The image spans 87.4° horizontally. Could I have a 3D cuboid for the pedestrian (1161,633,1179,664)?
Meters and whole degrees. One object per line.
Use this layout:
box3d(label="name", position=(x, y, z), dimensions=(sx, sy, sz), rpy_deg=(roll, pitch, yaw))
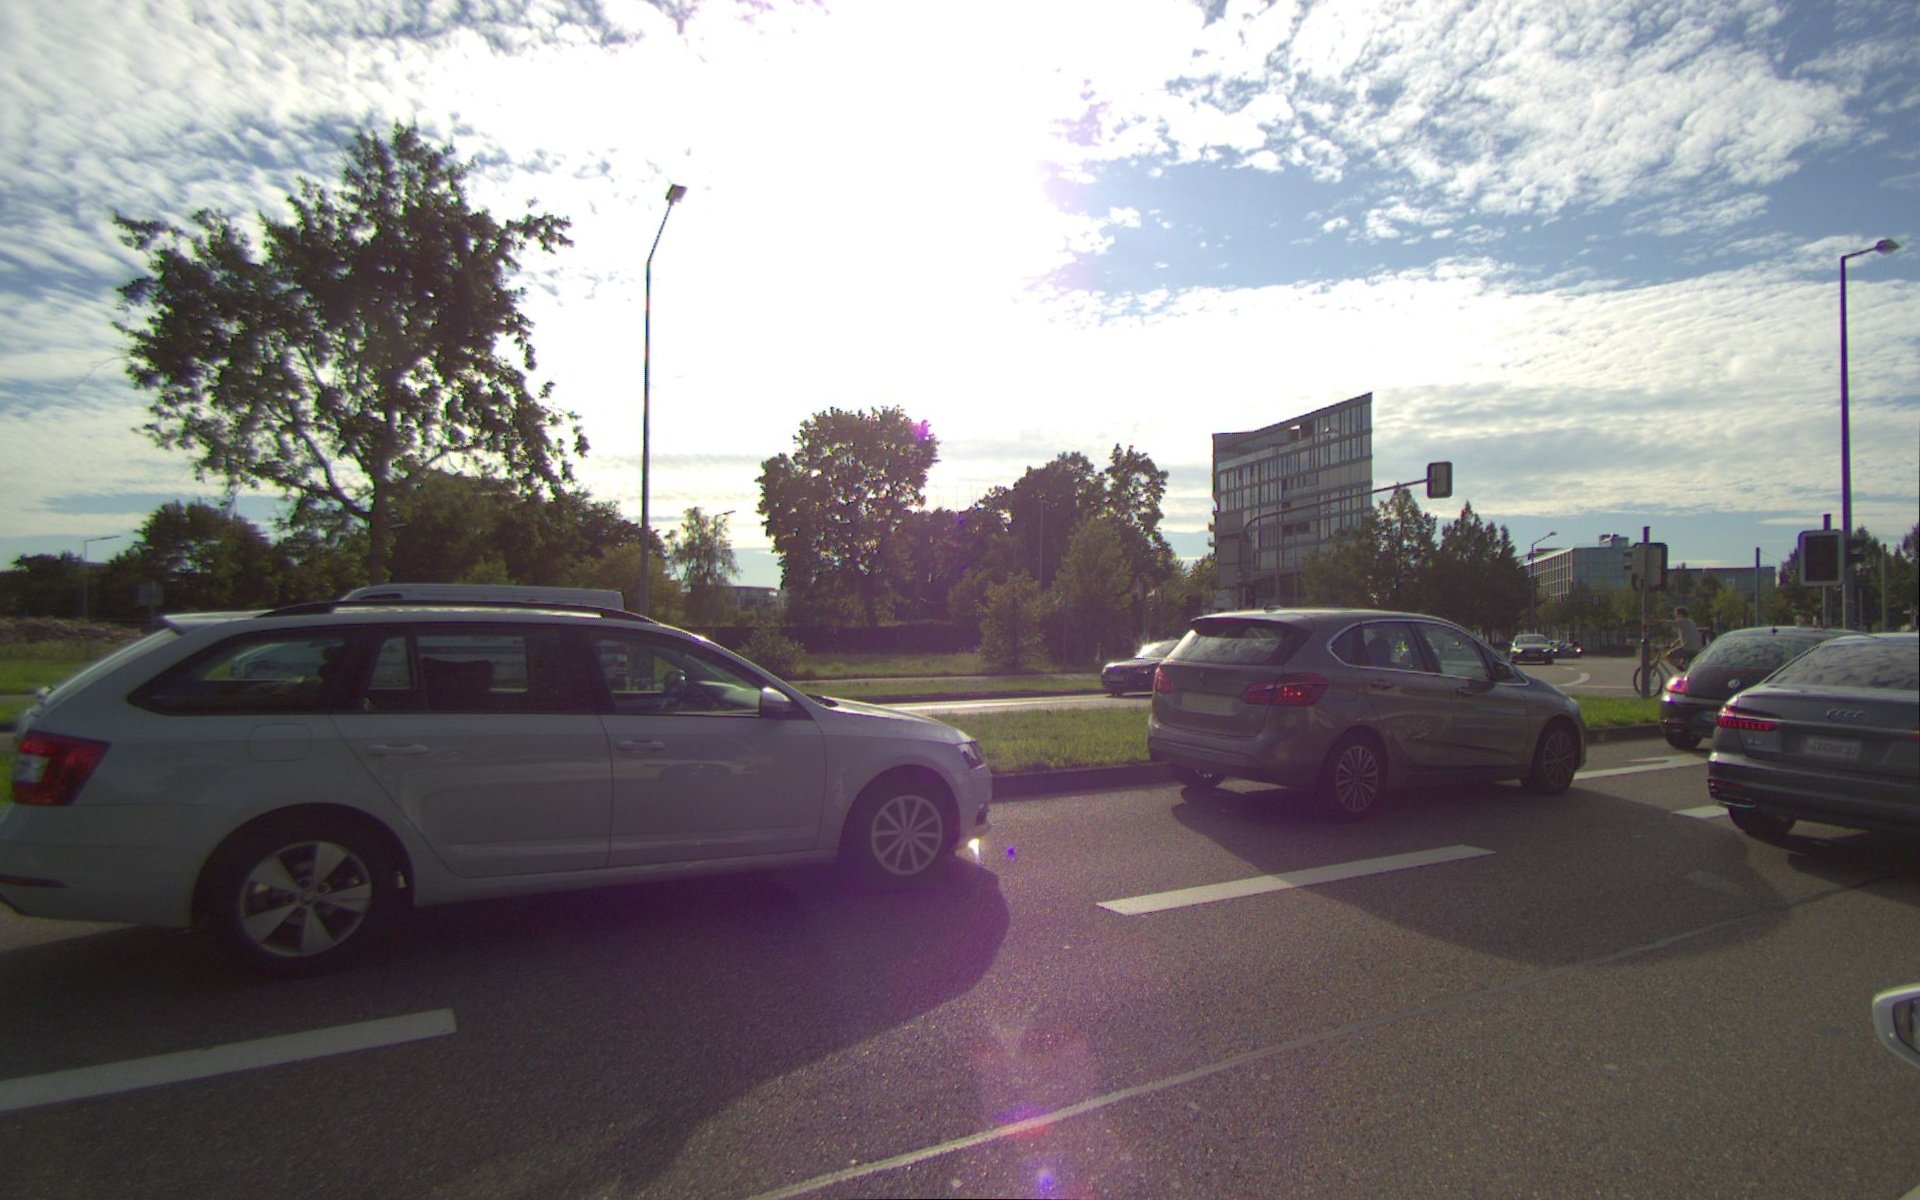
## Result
box3d(label="pedestrian", position=(10.684, 2.464, 51.089), dimensions=(0.606, 1.589, 0.653), rpy_deg=(1, -2, -21))

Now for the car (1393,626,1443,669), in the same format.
box3d(label="car", position=(20.242, 2.067, 44.477), dimensions=(1.678, 1.793, 4.000), rpy_deg=(0, -2, 20))

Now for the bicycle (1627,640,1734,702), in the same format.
box3d(label="bicycle", position=(14.650, 1.417, 20.452), dimensions=(1.707, 1.179, 0.652), rpy_deg=(-1, -2, 45))

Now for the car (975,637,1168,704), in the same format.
box3d(label="car", position=(2.618, 1.621, 23.538), dimensions=(4.177, 1.452, 1.900), rpy_deg=(1, -4, -30))

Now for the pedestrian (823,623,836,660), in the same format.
box3d(label="pedestrian", position=(-7.400, 2.358, 57.142), dimensions=(0.675, 2.040, 0.641), rpy_deg=(0, -2, -5))

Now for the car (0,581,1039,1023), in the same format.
box3d(label="car", position=(-1.891, 0.762, 5.267), dimensions=(4.429, 1.518, 1.690), rpy_deg=(2, -1, -31))

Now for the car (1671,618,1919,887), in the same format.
box3d(label="car", position=(7.233, 0.938, 7.129), dimensions=(4.559, 1.502, 1.881), rpy_deg=(2, -1, -31))

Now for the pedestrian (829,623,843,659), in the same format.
box3d(label="pedestrian", position=(-7.163, 2.384, 58.100), dimensions=(0.723, 2.040, 0.739), rpy_deg=(0, -2, -6))

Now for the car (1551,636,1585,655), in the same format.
box3d(label="car", position=(52.126, 3.904, 86.053), dimensions=(1.767, 1.595, 3.978), rpy_deg=(-2, -3, 42))

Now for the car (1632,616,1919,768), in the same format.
box3d(label="car", position=(9.956, 1.008, 12.072), dimensions=(3.766, 1.543, 1.672), rpy_deg=(2, -1, -31))

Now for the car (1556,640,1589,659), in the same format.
box3d(label="car", position=(57.854, 4.648, 94.950), dimensions=(1.679, 1.713, 4.002), rpy_deg=(0, -2, 17))

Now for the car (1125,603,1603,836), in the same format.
box3d(label="car", position=(3.513, 0.865, 8.589), dimensions=(3.971, 1.579, 1.721), rpy_deg=(2, -1, -30))

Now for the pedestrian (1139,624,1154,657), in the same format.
box3d(label="pedestrian", position=(11.504, 2.507, 62.090), dimensions=(0.863, 2.040, 0.936), rpy_deg=(0, -2, 8))

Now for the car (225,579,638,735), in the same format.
box3d(label="car", position=(-8.669, 0.948, 16.992), dimensions=(5.858, 2.264, 1.984), rpy_deg=(1, -4, -32))

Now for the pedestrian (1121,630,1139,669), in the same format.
box3d(label="pedestrian", position=(7.299, 2.129, 43.074), dimensions=(0.581, 1.602, 0.580), rpy_deg=(4, 2, 18))

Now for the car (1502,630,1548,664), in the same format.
box3d(label="car", position=(27.457, 2.260, 48.761), dimensions=(1.682, 1.594, 3.990), rpy_deg=(-1, -2, 33))

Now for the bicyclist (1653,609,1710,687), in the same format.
box3d(label="bicyclist", position=(14.678, 0.970, 20.442), dimensions=(0.840, 1.546, 0.736), rpy_deg=(-2, -3, 44))
